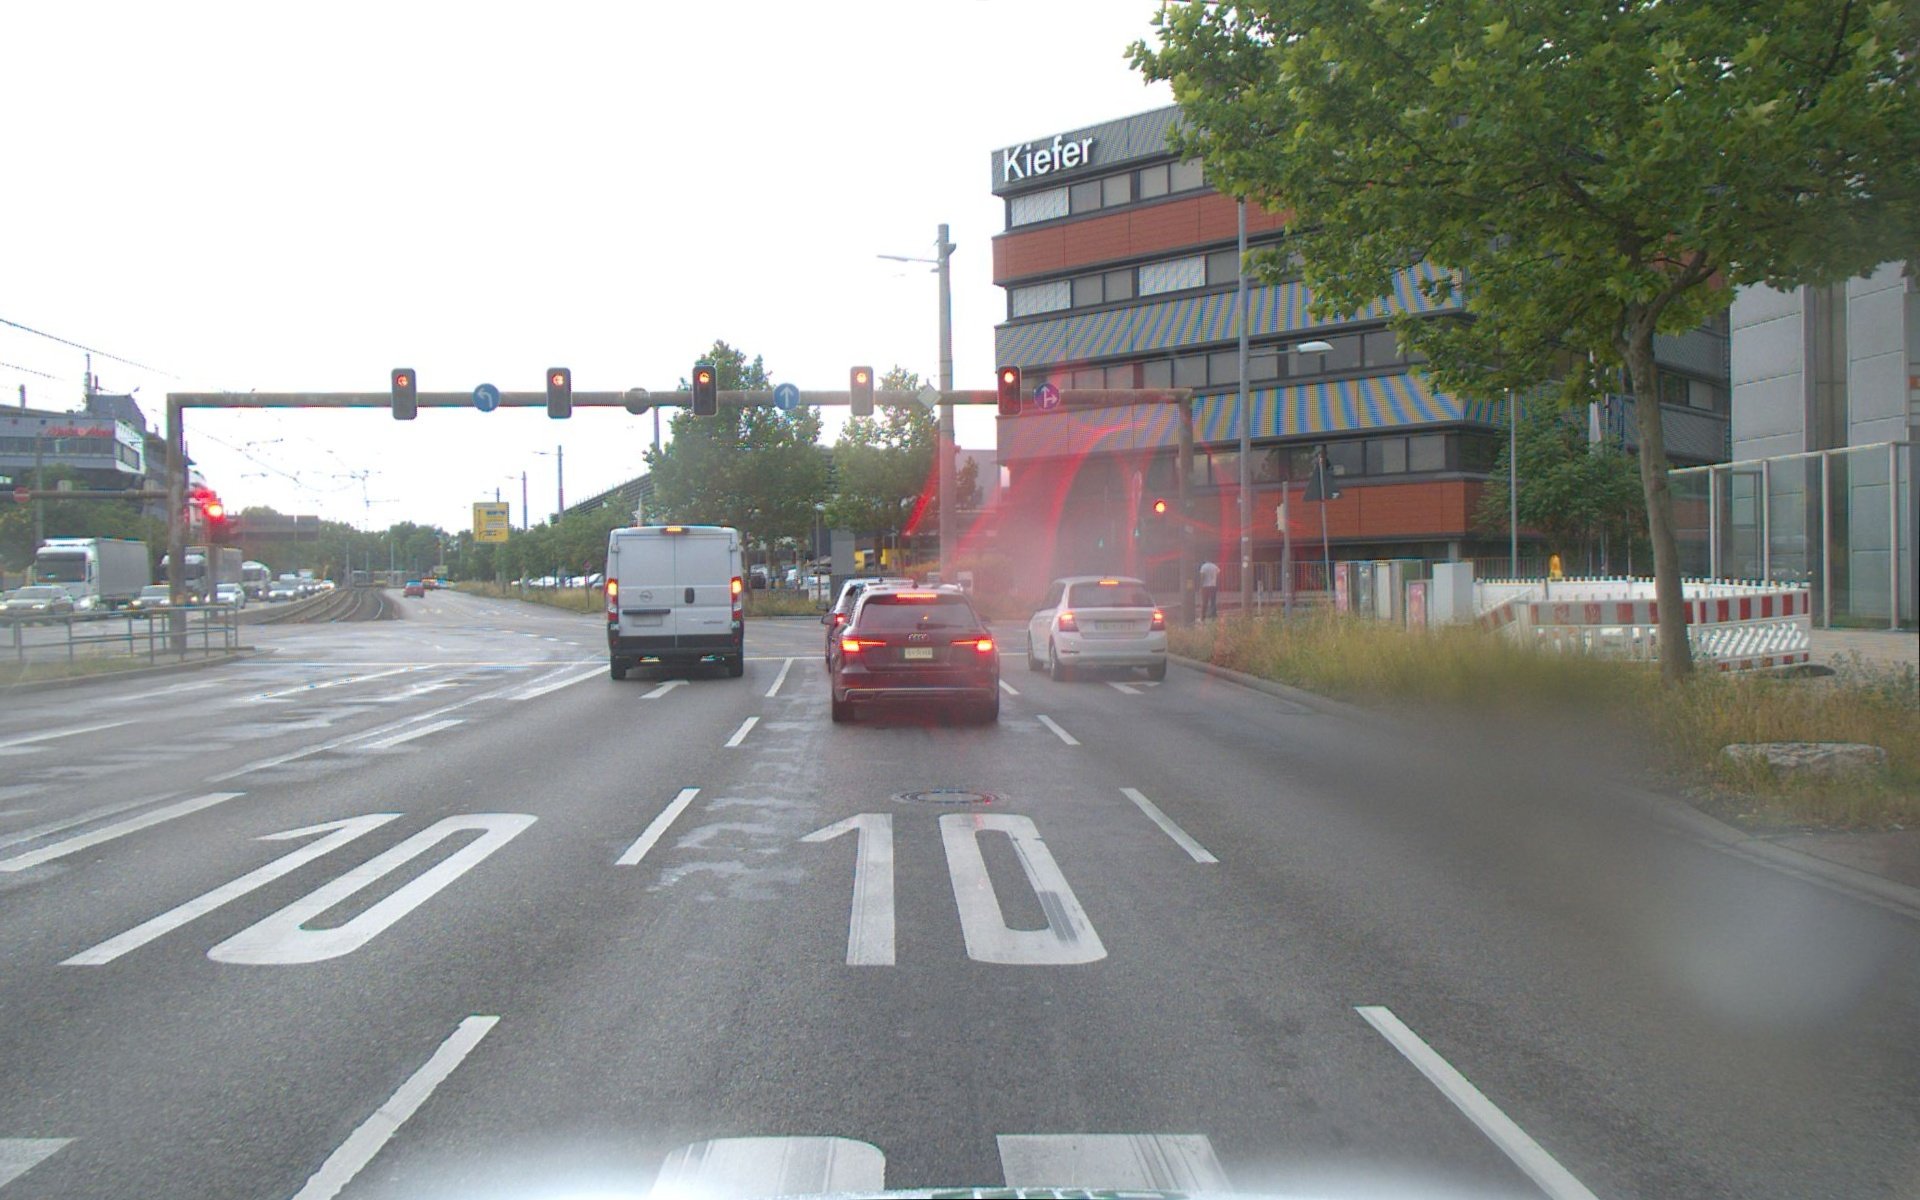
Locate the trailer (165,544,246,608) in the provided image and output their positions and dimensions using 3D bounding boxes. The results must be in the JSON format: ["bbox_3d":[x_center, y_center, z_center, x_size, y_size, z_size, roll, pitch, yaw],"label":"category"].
[{"bbox_3d":[-53.099,-1.614,116.743,2.604,4.196,12.702,-1,0,-13],"label":"trailer"}]

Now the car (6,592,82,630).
[{"bbox_3d":[-37.950,0.446,68.618,1.709,1.488,4.137,1,0,-14],"label":"car"}]

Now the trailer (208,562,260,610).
[{"bbox_3d":[-64.679,-1.219,147.161,2.698,3.921,11.107,-2,0,-31],"label":"trailer"}]

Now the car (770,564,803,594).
[{"bbox_3d":[-12.744,-1.524,121.032,1.653,2.049,3.523,1,-1,-19],"label":"car"}]

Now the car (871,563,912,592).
[{"bbox_3d":[-5.203,-1.689,124.782,1.845,2.049,3.746,1,-1,-23],"label":"car"}]

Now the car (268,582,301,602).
[{"bbox_3d":[-55.279,-0.678,135.395,1.871,1.582,4.548,1,0,-15],"label":"car"}]

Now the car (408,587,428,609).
[{"bbox_3d":[-53.006,-0.214,161.670,1.745,2.049,4.326,1,0,-18],"label":"car"}]

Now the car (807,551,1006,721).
[{"bbox_3d":[-0.620,0.364,18.313,1.954,1.666,3.998,0,0,-3],"label":"car"}]

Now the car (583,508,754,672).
[{"bbox_3d":[-4.593,-0.126,26.503,2.400,2.334,4.895,1,0,-9],"label":"car"}]

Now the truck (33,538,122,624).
[{"bbox_3d":[-43.862,-0.962,82.376,2.788,4.065,5.957,-1,1,-18],"label":"truck"}]

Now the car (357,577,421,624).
[{"bbox_3d":[-25.742,-0.006,74.708,1.738,2.049,4.342,1,1,-6],"label":"car"}]

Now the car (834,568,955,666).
[{"bbox_3d":[-1.048,0.265,27.427,1.855,1.491,3.908,-1,0,-1],"label":"car"}]

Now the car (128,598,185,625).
[{"bbox_3d":[-41.013,0.574,84.506,1.877,1.286,4.394,1,0,-16],"label":"car"}]

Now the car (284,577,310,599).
[{"bbox_3d":[-60.929,-1.117,151.971,1.964,1.869,4.881,0,2,-19],"label":"car"}]

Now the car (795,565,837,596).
[{"bbox_3d":[-9.789,-1.316,112.376,1.963,2.067,3.979,-2,1,-18],"label":"car"}]

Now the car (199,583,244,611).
[{"bbox_3d":[-46.728,-0.170,104.710,1.855,1.681,4.081,1,0,-14],"label":"car"}]

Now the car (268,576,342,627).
[{"bbox_3d":[-27.372,0.037,69.262,1.738,2.049,4.342,1,1,-6],"label":"car"}]

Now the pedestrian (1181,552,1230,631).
[{"bbox_3d":[6.922,-0.249,46.691,1.121,2.162,1.222,-2,2,-3],"label":"pedestrian"}]

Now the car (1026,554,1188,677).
[{"bbox_3d":[2.111,0.225,24.797,1.793,1.685,3.996,0,0,-4],"label":"car"}]

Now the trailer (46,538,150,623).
[{"bbox_3d":[-45.540,-1.036,87.723,2.751,4.179,11.388,-1,1,-17],"label":"trailer"}]

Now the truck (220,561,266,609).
[{"bbox_3d":[-61.678,-1.244,142.232,2.720,3.871,5.352,-2,0,-32],"label":"truck"}]

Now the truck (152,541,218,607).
[{"bbox_3d":[-51.711,-1.677,110.524,2.620,4.202,6.165,-1,0,-13],"label":"truck"}]
